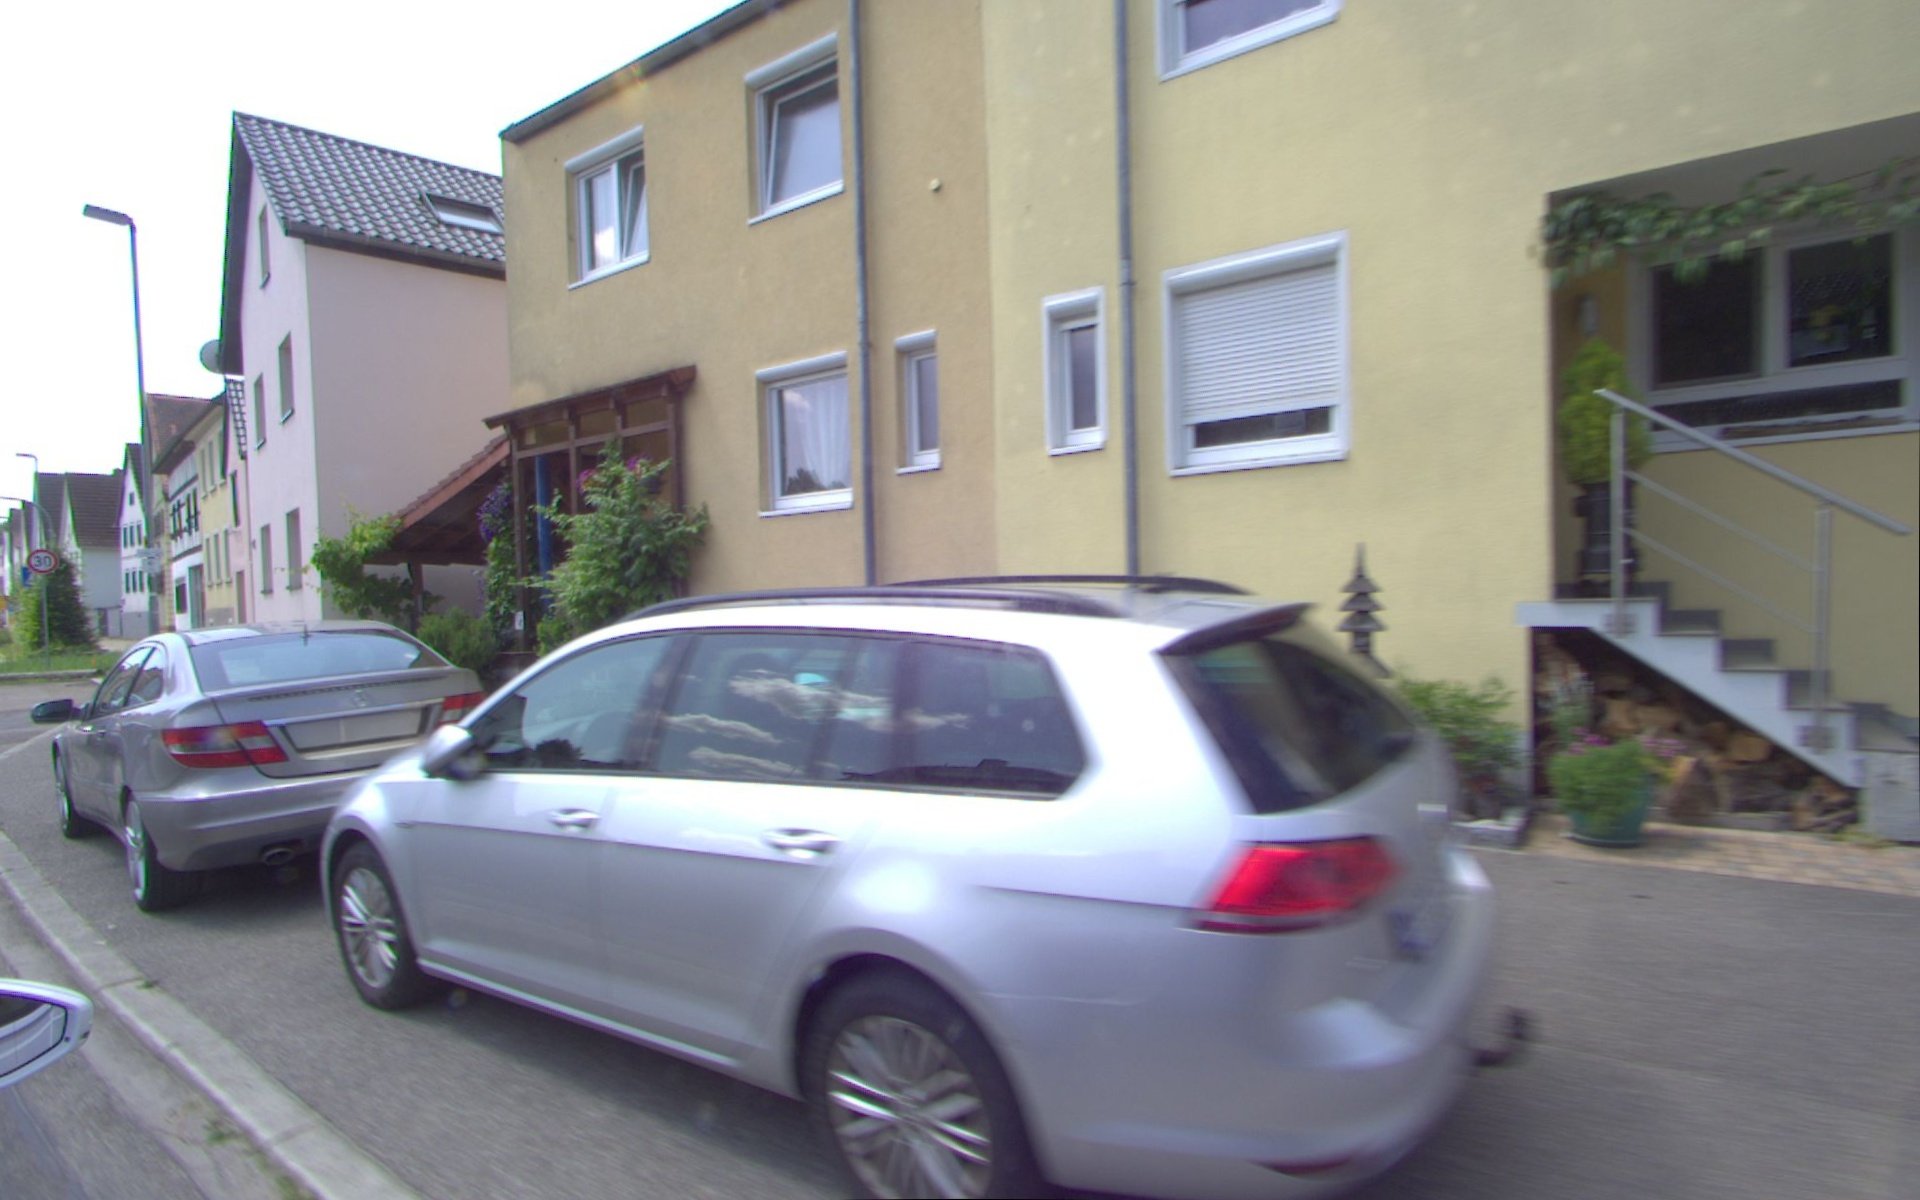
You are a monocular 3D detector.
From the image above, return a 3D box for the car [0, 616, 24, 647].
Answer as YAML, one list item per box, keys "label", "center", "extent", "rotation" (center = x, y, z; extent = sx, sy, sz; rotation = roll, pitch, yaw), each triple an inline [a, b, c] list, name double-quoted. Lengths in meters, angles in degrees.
- label: "car"
  center: [-51.342, 1.717, 53.350]
  extent: [3.960, 1.527, 1.982]
  rotation: [-4, -2, 44]

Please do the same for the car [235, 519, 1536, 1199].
- label: "car"
  center: [-0.532, 0.654, 3.510]
  extent: [4.278, 1.551, 1.878]
  rotation: [-2, 3, 35]

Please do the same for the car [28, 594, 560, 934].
- label: "car"
  center: [-4.558, 0.811, 6.551]
  extent: [4.376, 1.419, 1.760]
  rotation: [-3, 2, 42]

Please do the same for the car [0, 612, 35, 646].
- label: "car"
  center: [-47.193, 1.454, 49.466]
  extent: [3.960, 1.527, 1.982]
  rotation: [-4, -2, 44]
